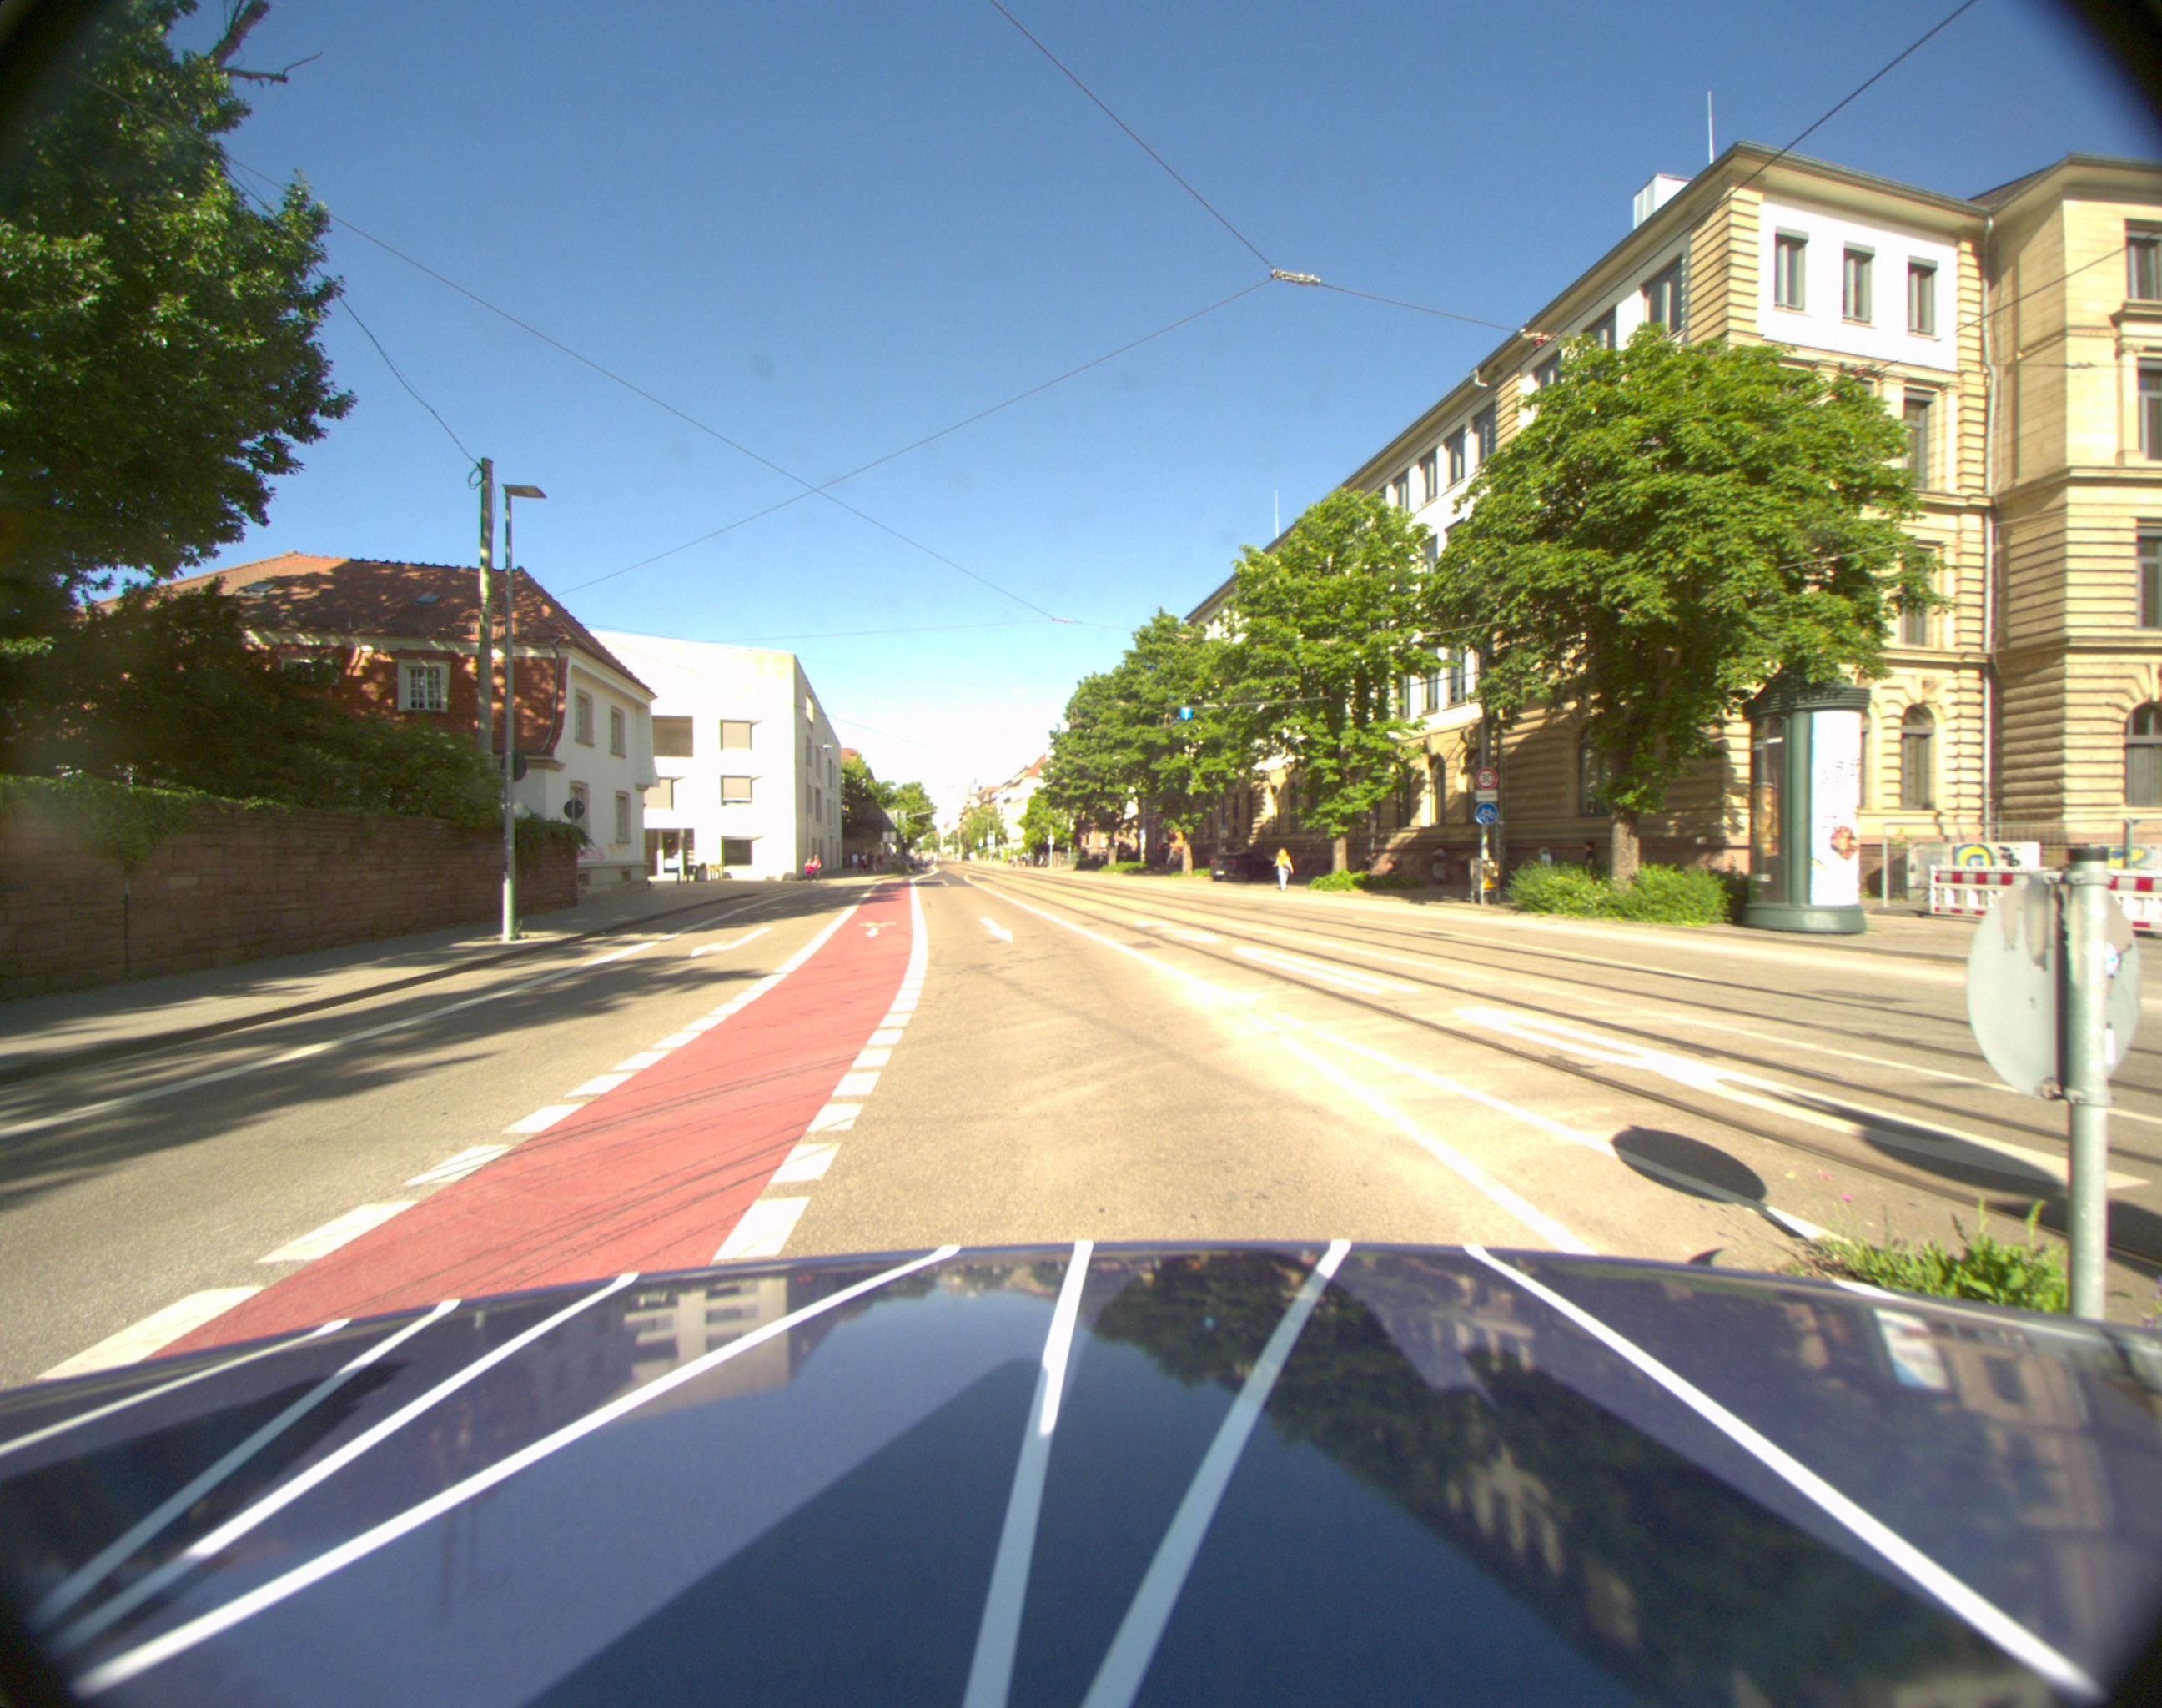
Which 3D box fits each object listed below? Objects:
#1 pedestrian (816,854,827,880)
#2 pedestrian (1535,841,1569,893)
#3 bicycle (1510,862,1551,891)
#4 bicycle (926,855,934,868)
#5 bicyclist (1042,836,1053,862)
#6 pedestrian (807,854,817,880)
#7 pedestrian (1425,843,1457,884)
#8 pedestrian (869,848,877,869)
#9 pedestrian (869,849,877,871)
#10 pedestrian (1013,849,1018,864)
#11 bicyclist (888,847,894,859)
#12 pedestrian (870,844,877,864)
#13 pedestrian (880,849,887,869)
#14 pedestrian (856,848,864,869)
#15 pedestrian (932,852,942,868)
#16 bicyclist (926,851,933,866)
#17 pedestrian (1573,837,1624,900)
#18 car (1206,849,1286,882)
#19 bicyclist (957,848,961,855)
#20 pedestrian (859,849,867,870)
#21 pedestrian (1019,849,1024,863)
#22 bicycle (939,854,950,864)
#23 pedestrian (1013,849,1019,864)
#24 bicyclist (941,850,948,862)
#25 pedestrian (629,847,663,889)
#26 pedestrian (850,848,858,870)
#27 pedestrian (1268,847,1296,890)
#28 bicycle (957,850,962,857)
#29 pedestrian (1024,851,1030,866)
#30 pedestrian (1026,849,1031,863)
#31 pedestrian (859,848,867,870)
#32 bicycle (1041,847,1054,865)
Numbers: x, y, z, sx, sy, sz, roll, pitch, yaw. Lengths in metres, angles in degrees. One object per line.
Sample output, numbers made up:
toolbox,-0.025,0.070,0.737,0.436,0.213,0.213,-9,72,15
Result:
pedestrian,-15.668,0.754,45.900,0.535,1.557,0.519,-1,1,-13
pedestrian,14.079,0.382,22.717,0.579,1.553,0.653,-1,1,-12
bicycle,15.256,0.743,25.823,0.398,0.898,1.359,-2,2,-10
bicycle,-15.007,0.734,75.375,0.665,1.146,1.670,-2,2,-8
bicyclist,-3.792,-0.562,85.723,1.003,2.959,1.474,-1,2,5
pedestrian,-16.280,0.768,45.989,0.535,1.557,0.519,-1,1,-13
pedestrian,14.424,0.360,30.448,0.673,1.558,0.857,-5,2,-16
pedestrian,-17.810,0.376,65.084,0.588,1.795,0.582,-1,1,-13
pedestrian,-17.255,0.520,63.126,0.588,1.795,0.519,-1,1,-13
pedestrian,-8.175,0.329,95.141,0.579,1.845,0.684,0,1,-11
bicyclist,-35.101,-0.203,140.270,0.813,2.194,0.983,-2,2,-10
pedestrian,-18.125,-0.009,66.445,0.588,1.795,0.545,-1,1,-13
pedestrian,-16.470,0.416,63.354,0.588,1.717,0.519,-1,1,-13
pedestrian,-18.812,0.404,64.563,0.588,1.795,0.582,-1,1,-13
pedestrian,-16.227,0.696,85.738,0.933,1.728,0.677,-1,1,-31
bicyclist,-15.011,0.399,75.317,0.665,1.453,0.622,-2,2,-8
pedestrian,14.229,0.381,20.911,0.731,1.660,0.844,-2,4,-25
car,8.582,0.553,39.413,4.118,1.565,1.916,-1,1,-39
bicyclist,-29.863,-0.569,185.959,1.004,1.712,0.983,-2,2,-12
pedestrian,-19.015,0.457,66.234,0.588,1.795,0.545,-1,1,-13
pedestrian,-7.598,0.274,96.635,0.579,1.845,0.684,0,1,-11
bicycle,-25.811,0.926,143.703,1.005,1.672,2.977,-3,2,-33
pedestrian,-8.245,0.296,96.463,0.579,1.845,0.684,0,1,-11
bicyclist,-25.817,0.427,143.718,1.005,2.255,1.018,-3,2,-32
pedestrian,-18.072,0.573,31.587,0.951,1.668,0.942,3,1,42
pedestrian,-18.749,0.441,62.655,0.588,1.795,0.545,-1,1,-13
pedestrian,7.984,0.596,30.255,0.771,1.658,1.034,1,-3,-6
bicycle,-29.849,-0.153,185.980,1.004,1.672,2.981,-2,2,-12
pedestrian,-6.596,0.571,92.805,0.729,1.845,0.653,0,1,-9
pedestrian,-6.572,0.256,95.138,0.579,1.845,0.653,0,1,-11
pedestrian,-18.052,0.413,62.963,0.588,1.795,0.545,-1,1,-13
bicycle,-3.759,0.185,85.868,1.003,1.876,3.894,-1,2,4
